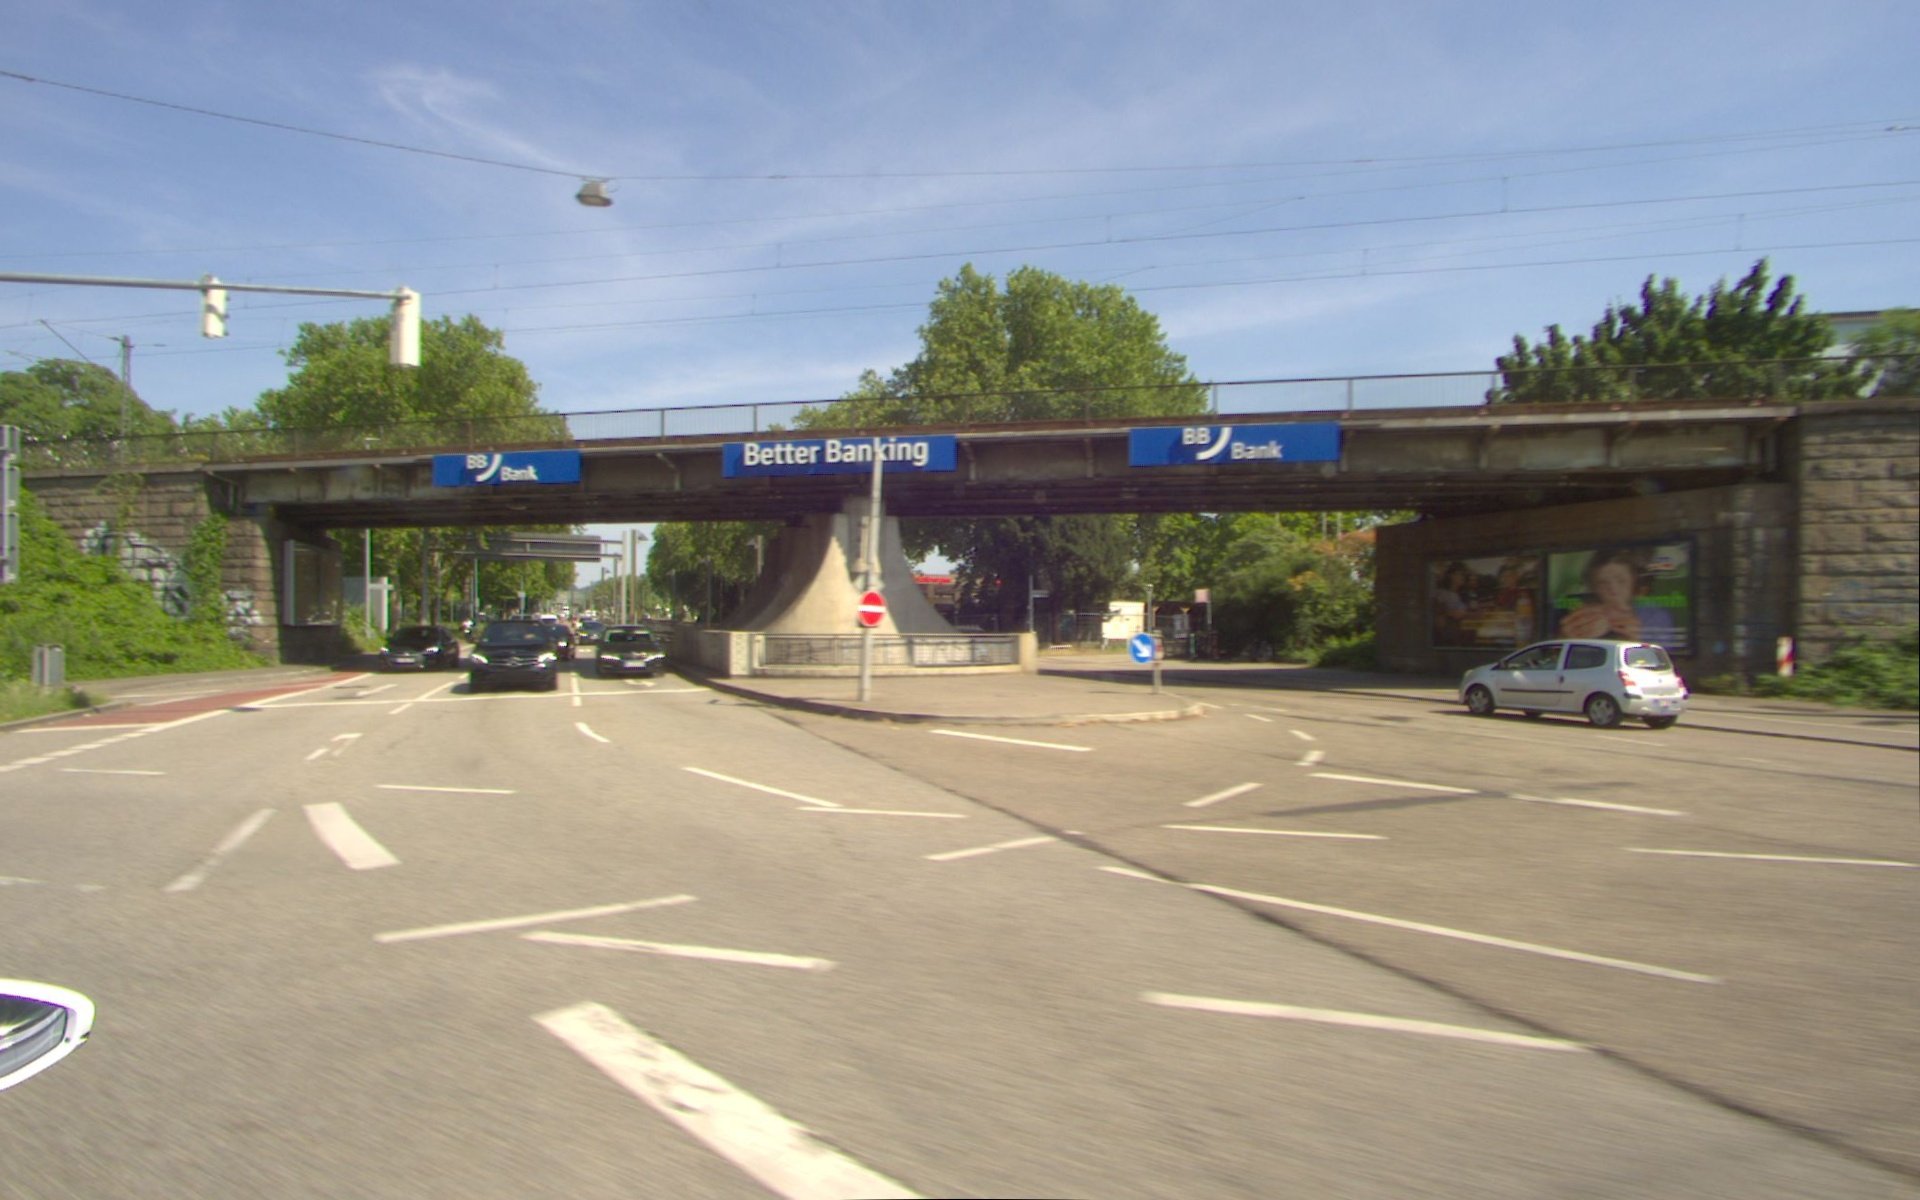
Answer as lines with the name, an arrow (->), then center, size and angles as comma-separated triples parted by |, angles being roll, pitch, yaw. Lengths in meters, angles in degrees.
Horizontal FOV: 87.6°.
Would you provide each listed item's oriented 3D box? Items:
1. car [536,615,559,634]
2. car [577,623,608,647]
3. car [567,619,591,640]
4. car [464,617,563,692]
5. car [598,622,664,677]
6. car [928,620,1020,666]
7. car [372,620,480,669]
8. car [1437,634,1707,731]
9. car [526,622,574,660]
car -> -38.481, 2.265, 93.465 | 1.773, 1.739, 3.990 | 1, -1, -21
car -> -23.273, 2.212, 63.581 | 1.663, 1.460, 3.993 | 1, -1, -18
car -> -34.084, 2.652, 89.547 | 1.966, 1.854, 4.309 | 1, -1, -21
car -> -10.686, 1.244, 24.027 | 1.968, 1.616, 4.430 | 1, -1, -24
car -> -9.455, 1.365, 28.724 | 1.664, 1.460, 3.991 | 1, -1, -19
car -> 0.444, 1.589, 37.657 | 1.967, 1.527, 4.471 | 3, -2, -20
car -> -17.550, 1.444, 33.128 | 1.793, 1.526, 4.215 | 1, -2, -8
car -> 10.722, 1.386, 17.866 | 1.688, 1.469, 3.882 | 2, -2, -22
car -> -16.393, 1.602, 40.107 | 1.680, 1.438, 3.988 | 1, -1, -22
